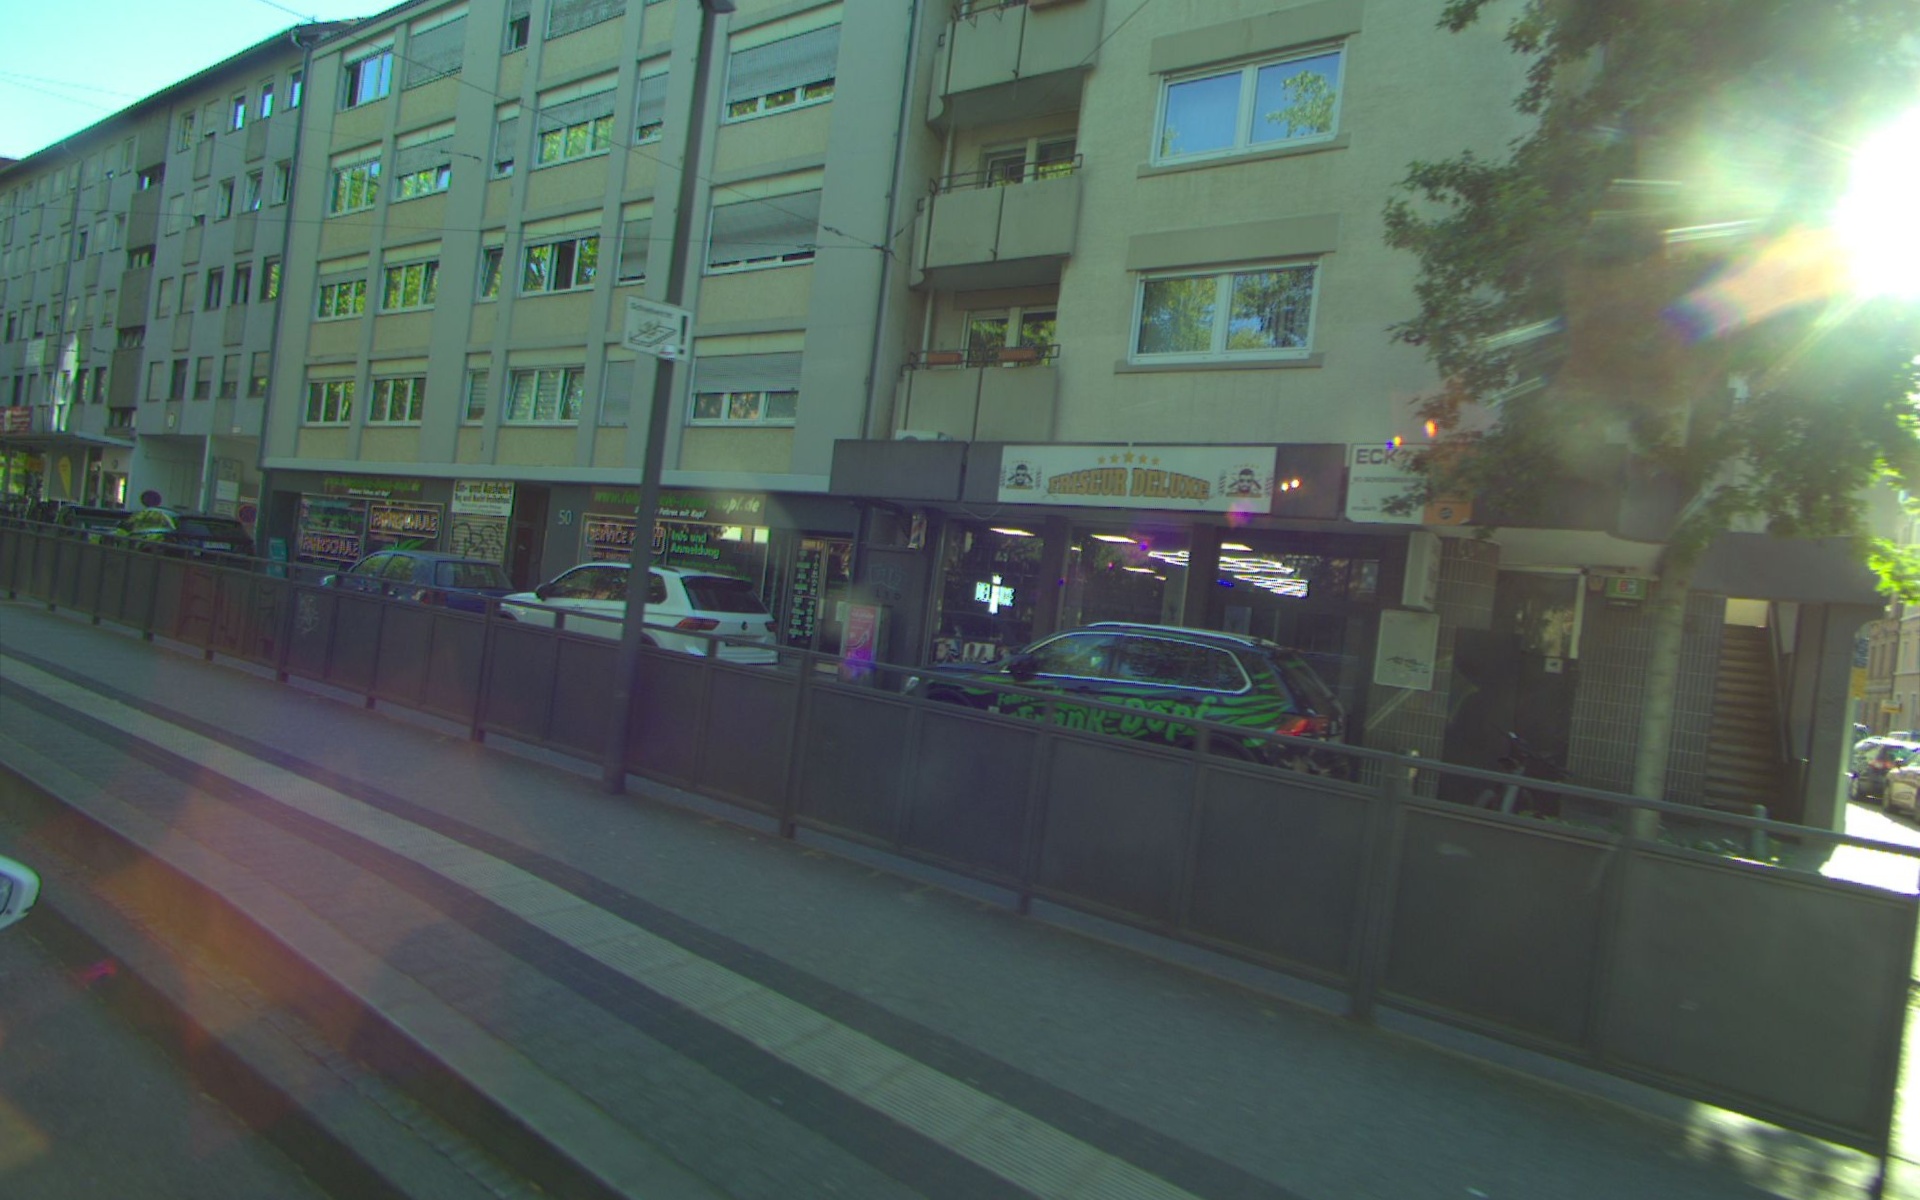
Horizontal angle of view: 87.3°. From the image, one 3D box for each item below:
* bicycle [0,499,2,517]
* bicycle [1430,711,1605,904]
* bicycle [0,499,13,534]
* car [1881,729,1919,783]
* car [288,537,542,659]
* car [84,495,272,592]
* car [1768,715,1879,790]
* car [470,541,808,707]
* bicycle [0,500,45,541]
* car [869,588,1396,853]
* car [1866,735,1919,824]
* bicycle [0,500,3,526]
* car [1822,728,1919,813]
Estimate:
[{"bbox_3d":[-34.914,-3.111,35.686,2.163,1.149,0.411,7,-1,22],"label":"bicycle"},{"bbox_3d":[4.363,1.537,7.783,0.671,1.201,2.125,6,-2,41],"label":"bicycle"},{"bbox_3d":[-33.938,-3.018,34.700,2.868,1.149,0.613,7,-1,22],"label":"bicycle"},{"bbox_3d":[37.830,6.184,39.600,1.713,1.969,4.215,6,-2,36],"label":"car"},{"bbox_3d":[-8.898,-0.057,16.342,4.178,1.457,1.746,6,-2,33],"label":"car"},{"bbox_3d":[-17.284,-1.269,22.178,4.327,1.634,1.860,6,-2,33],"label":"car"},{"bbox_3d":[25.352,4.417,29.663,1.694,1.836,3.561,6,-2,30],"label":"car"},{"bbox_3d":[-4.328,0.281,13.336,4.344,1.624,1.802,6,-2,33],"label":"car"},{"bbox_3d":[-30.916,-2.624,32.731,2.394,1.149,0.623,7,-1,22],"label":"bicycle"},{"bbox_3d":[1.546,0.985,9.555,4.373,1.634,1.997,6,-2,33],"label":"car"},{"bbox_3d":[18.767,3.473,18.932,1.679,1.526,3.995,6,-2,31],"label":"car"},{"bbox_3d":[-33.155,-2.898,33.681,2.390,1.149,0.604,7,-1,22],"label":"bicycle"},{"bbox_3d":[21.609,3.933,23.214,1.805,1.641,4.068,6,-2,31],"label":"car"}]
